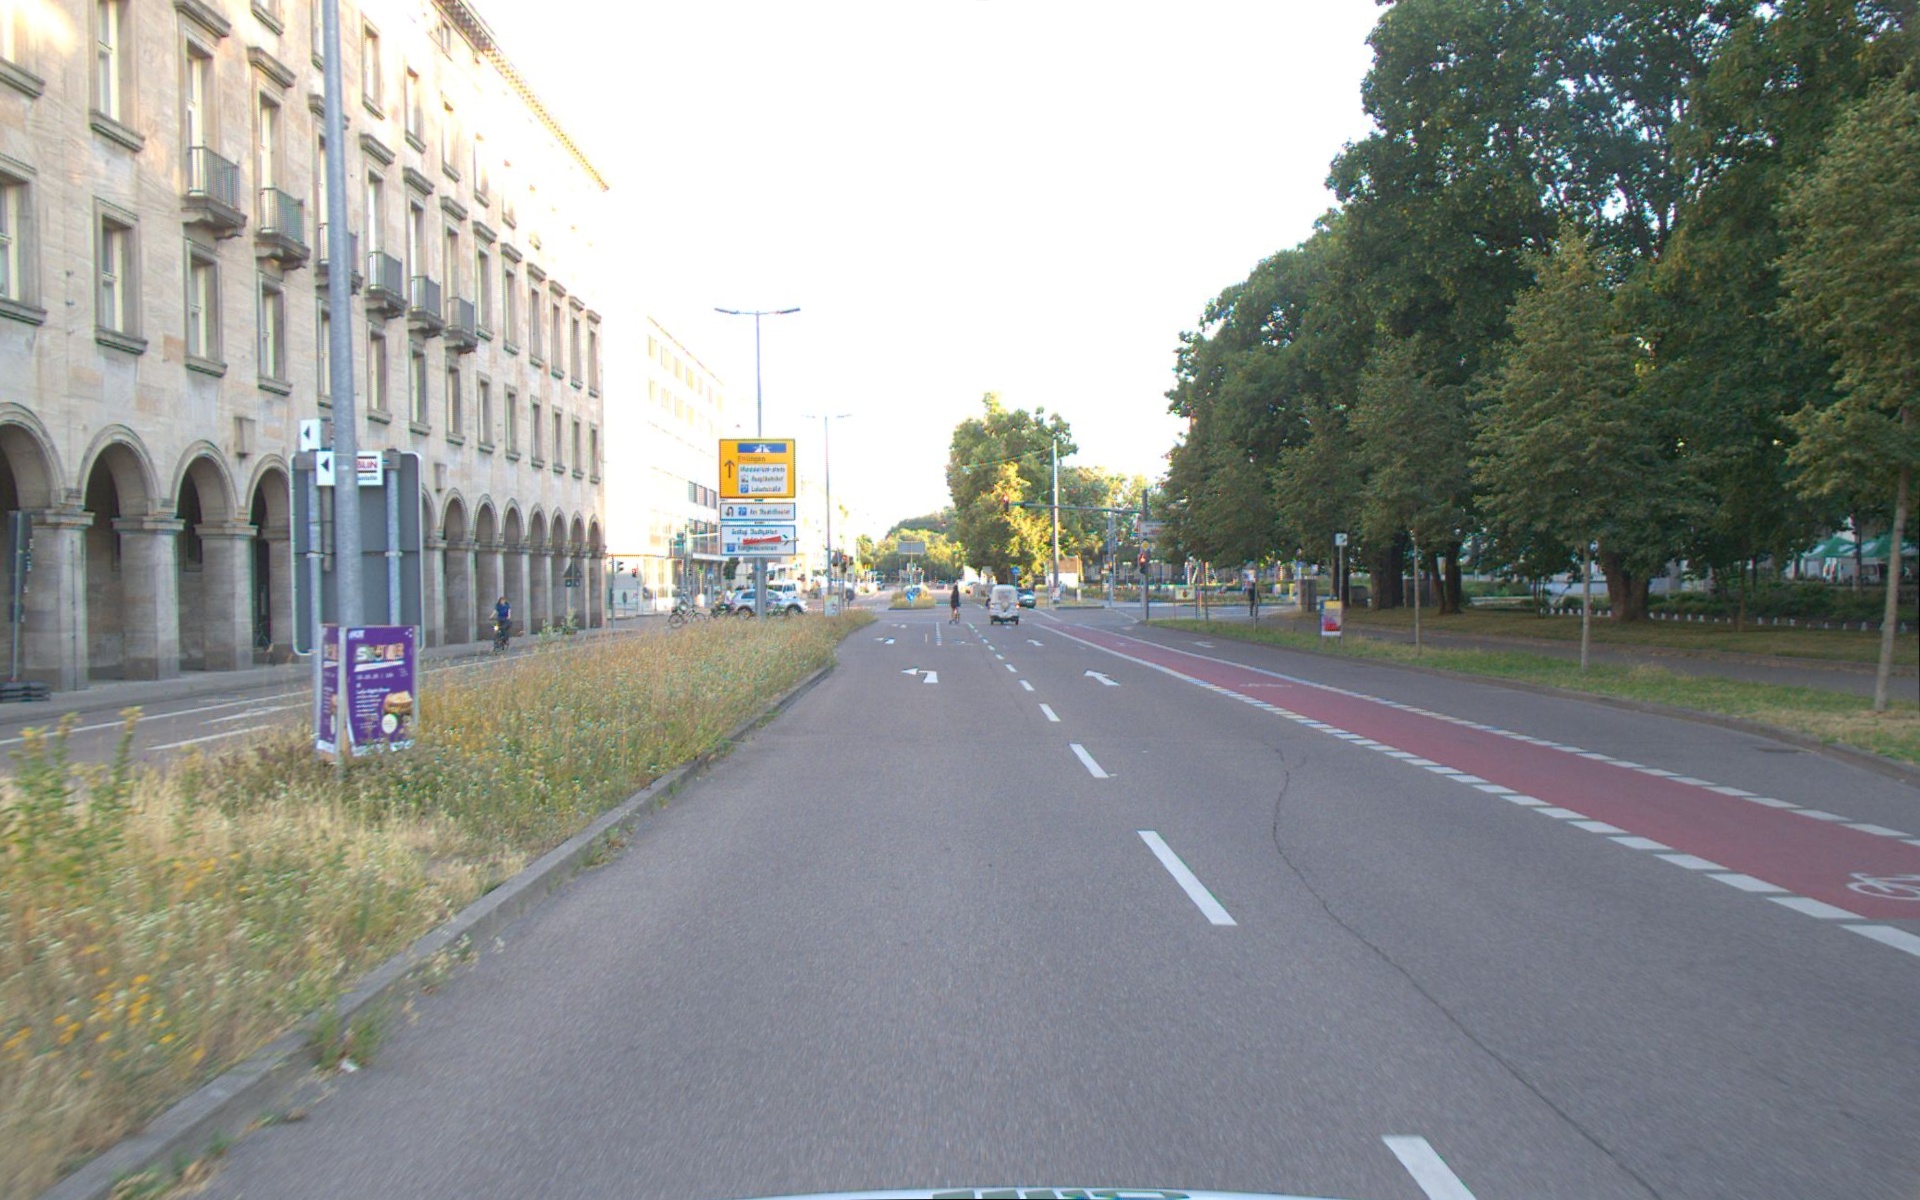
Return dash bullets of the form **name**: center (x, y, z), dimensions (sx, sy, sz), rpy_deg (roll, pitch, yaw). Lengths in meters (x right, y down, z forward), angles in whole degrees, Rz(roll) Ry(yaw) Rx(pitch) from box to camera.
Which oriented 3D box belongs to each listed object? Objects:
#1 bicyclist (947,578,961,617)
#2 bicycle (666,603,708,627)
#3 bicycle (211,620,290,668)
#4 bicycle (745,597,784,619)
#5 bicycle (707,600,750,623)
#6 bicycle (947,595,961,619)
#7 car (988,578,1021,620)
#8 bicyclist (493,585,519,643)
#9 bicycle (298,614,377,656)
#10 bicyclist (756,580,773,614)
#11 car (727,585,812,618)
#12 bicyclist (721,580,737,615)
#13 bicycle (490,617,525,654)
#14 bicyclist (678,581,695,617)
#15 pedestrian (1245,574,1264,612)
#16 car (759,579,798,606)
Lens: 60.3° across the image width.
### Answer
- **bicyclist**: center (-0.284, -0.111, 75.562), dimensions (0.615, 1.722, 0.748), rpy_deg (-1, 0, -2)
- **bicycle**: center (-13.162, 0.704, 79.765), dimensions (1.978, 1.087, 0.729), rpy_deg (-1, 0, -9)
- **bicycle**: center (-16.334, 0.991, 38.124), dimensions (0.467, 1.023, 2.006), rpy_deg (-1, 1, 17)
- **bicycle**: center (-10.097, 0.392, 85.401), dimensions (1.857, 1.087, 0.731), rpy_deg (-1, 0, 2)
- **bicycle**: center (-11.342, 0.554, 81.071), dimensions (2.019, 1.087, 0.785), rpy_deg (-1, 0, -7)
- **bicycle**: center (-0.273, 0.315, 75.879), dimensions (0.624, 1.087, 2.069), rpy_deg (0, 1, -1)
- **car**: center (2.019, -0.058, 75.352), dimensions (1.429, 1.811, 2.565), rpy_deg (0, 2, 1)
- **bicyclist**: center (-13.618, 0.419, 49.602), dimensions (0.525, 1.722, 0.748), rpy_deg (-1, 0, 0)
- **bicycle**: center (-16.231, 0.905, 43.165), dimensions (0.469, 1.023, 1.998), rpy_deg (-1, 1, 34)
- **bicyclist**: center (-10.077, -0.167, 85.407), dimensions (0.730, 1.722, 0.715), rpy_deg (-1, 0, 2)
- **car**: center (-10.265, 0.073, 88.921), dimensions (4.450, 1.677, 1.996), rpy_deg (-1, 1, -9)
- **bicyclist**: center (-11.323, -0.131, 81.065), dimensions (0.732, 1.722, 0.764), rpy_deg (-1, 0, -7)
- **bicycle**: center (-13.630, 1.057, 49.860), dimensions (0.530, 1.023, 2.004), rpy_deg (-1, 0, -1)
- **bicyclist**: center (-13.194, -0.063, 79.772), dimensions (0.733, 1.722, 0.713), rpy_deg (-1, 0, -11)
- **pedestrian**: center (13.675, -0.312, 76.752), dimensions (0.681, 1.722, 0.748), rpy_deg (-1, 0, -2)
- **car**: center (-18.000, -0.729, 164.229), dimensions (2.130, 2.427, 5.994), rpy_deg (-2, -2, 10)
